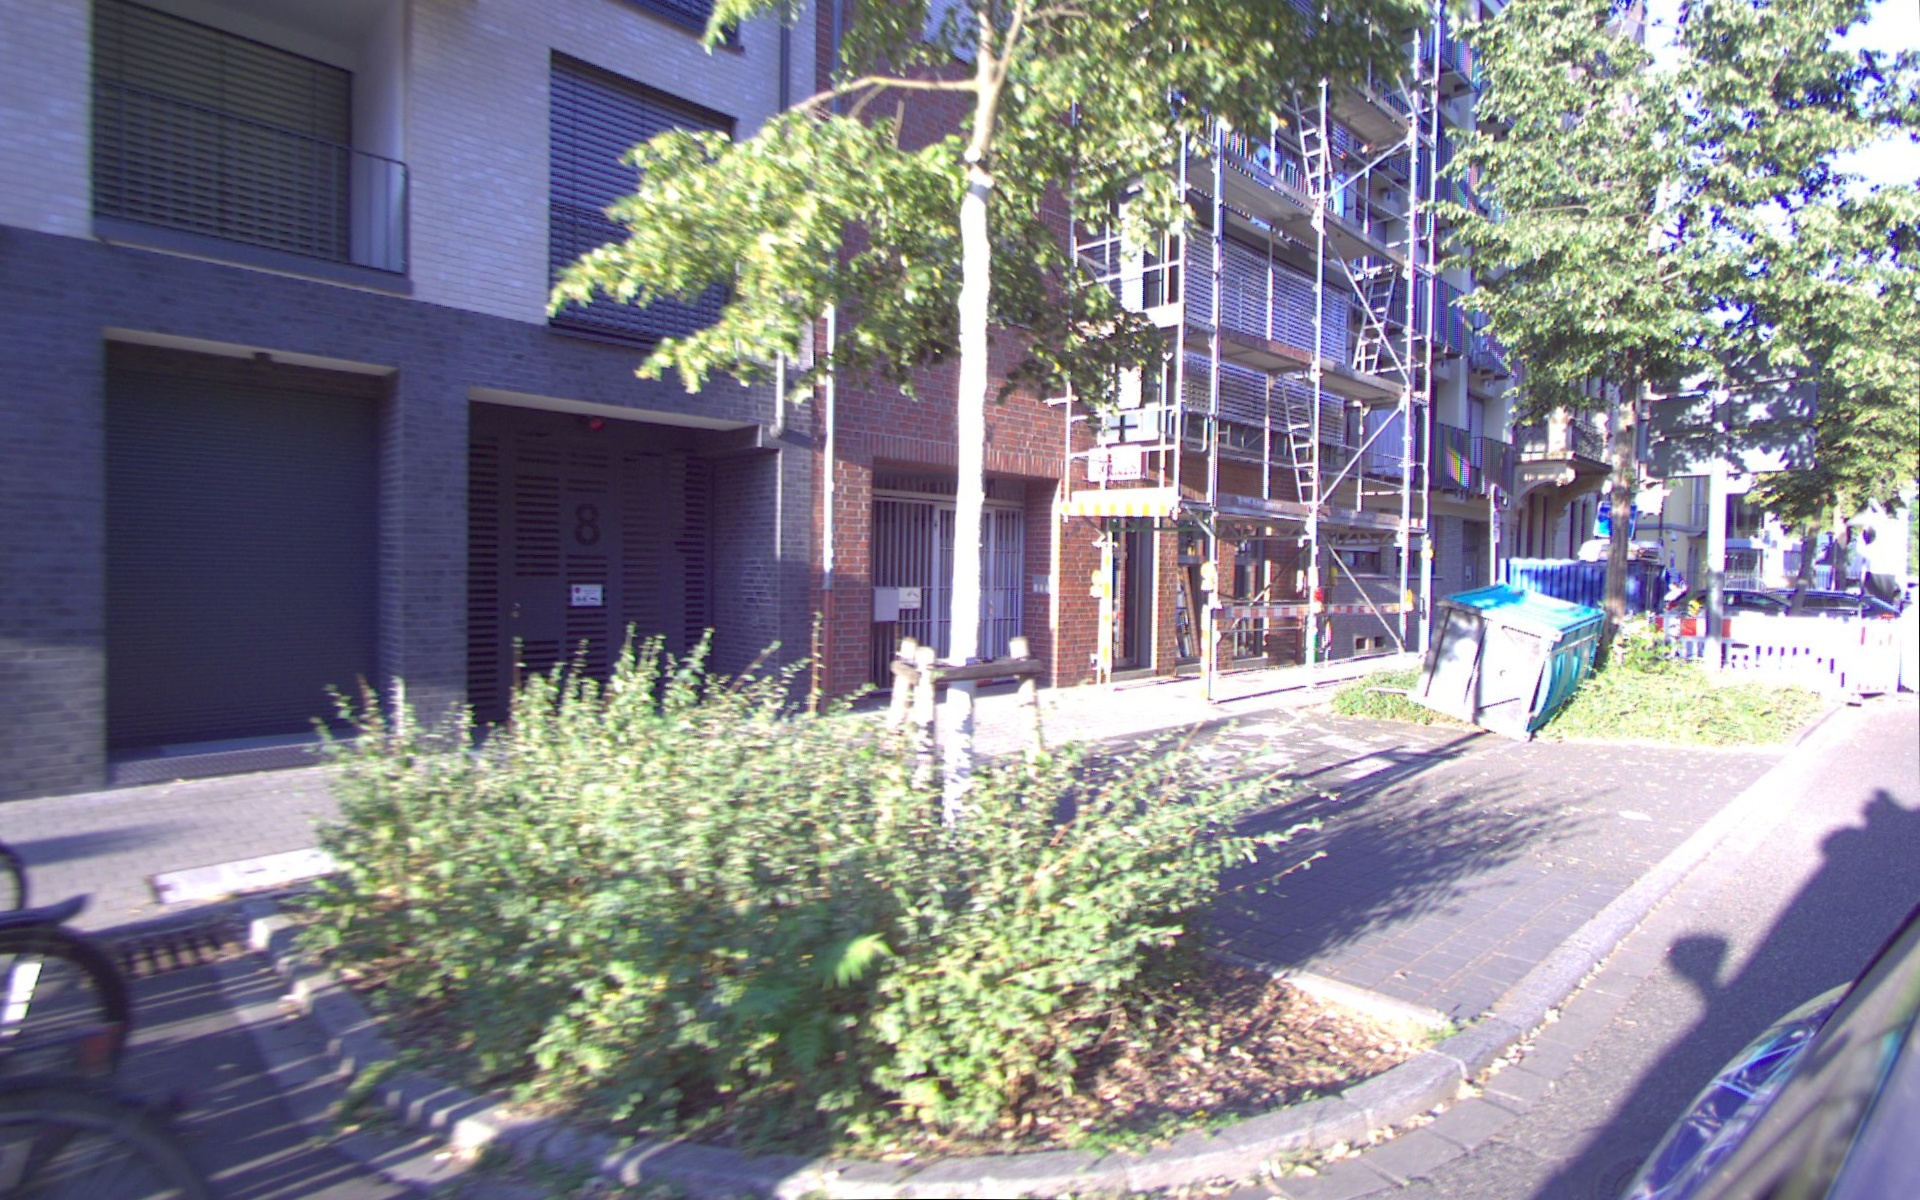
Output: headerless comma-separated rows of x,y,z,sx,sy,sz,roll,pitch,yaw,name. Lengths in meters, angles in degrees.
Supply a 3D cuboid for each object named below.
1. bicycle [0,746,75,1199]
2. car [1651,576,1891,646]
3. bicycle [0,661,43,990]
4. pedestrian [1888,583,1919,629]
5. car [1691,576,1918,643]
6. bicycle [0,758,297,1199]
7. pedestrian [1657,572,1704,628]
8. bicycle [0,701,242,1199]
-2.157,0.859,1.308,0.382,1.114,1.499,2,2,43,bicycle
20.777,0.211,26.088,1.835,1.497,4.536,-1,3,-41,car
-3.908,0.808,3.175,0.381,1.114,1.500,2,2,42,bicycle
33.664,0.198,36.118,0.459,1.614,0.674,0,2,-31,pedestrian
22.889,0.189,27.575,1.879,1.529,4.532,0,2,-43,car
-1.717,0.869,1.214,0.382,1.114,1.499,2,2,43,bicycle
22.245,-0.016,31.239,0.943,1.679,0.639,1,1,5,pedestrian
-2.332,0.856,1.998,0.379,1.114,1.510,1,2,25,bicycle
